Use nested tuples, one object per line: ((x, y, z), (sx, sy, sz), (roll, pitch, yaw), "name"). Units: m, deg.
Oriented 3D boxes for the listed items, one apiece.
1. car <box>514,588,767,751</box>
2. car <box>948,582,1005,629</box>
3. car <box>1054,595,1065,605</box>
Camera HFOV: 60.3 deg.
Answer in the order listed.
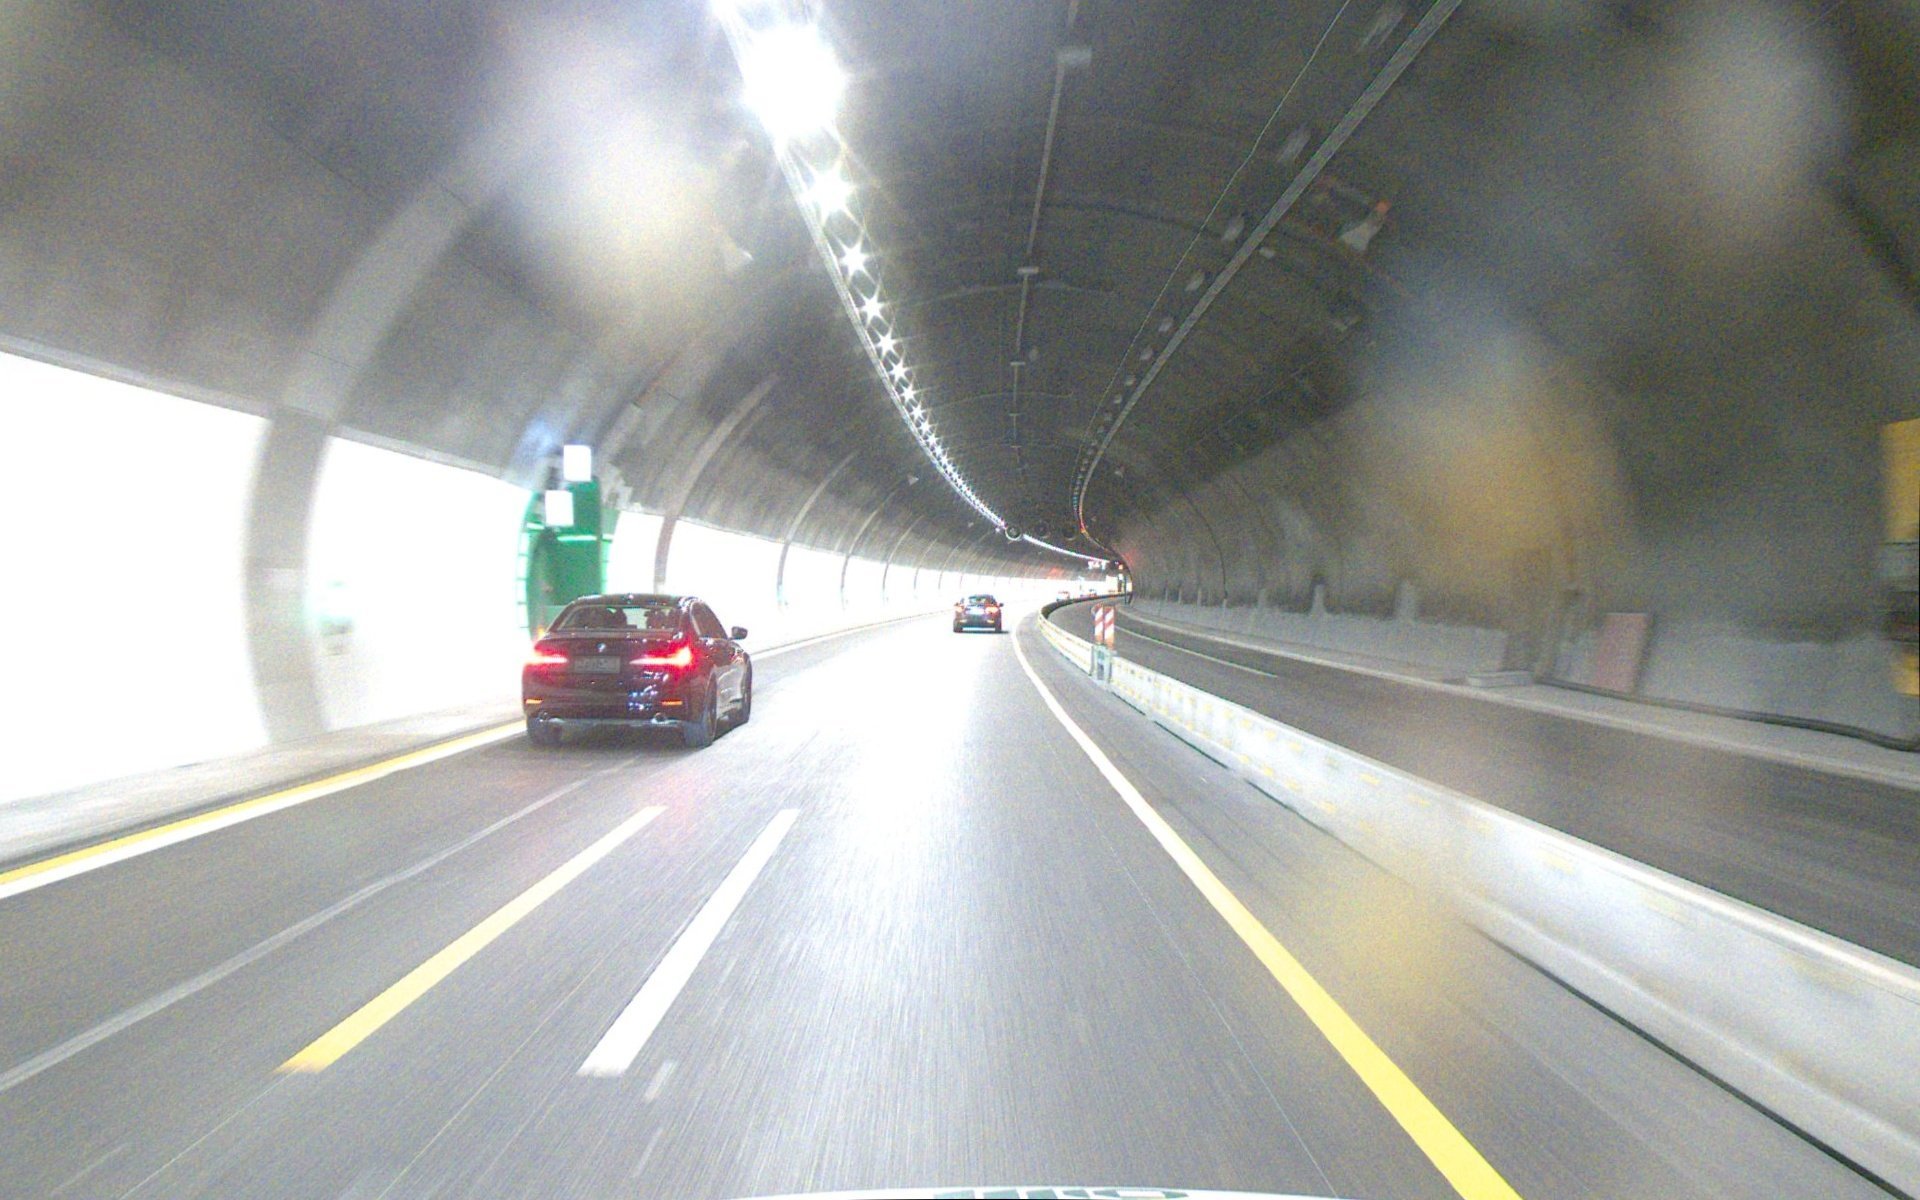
((-3.218, 0.625, 17.625), (1.741, 1.463, 4.882), (1, 0, 0), "car")
((0.673, 0.209, 63.805), (2.096, 1.735, 4.001), (1, 0, 2), "car")
((13.541, 0.046, 225.175), (1.561, 1.356, 3.752), (1, 0, 3), "car")
